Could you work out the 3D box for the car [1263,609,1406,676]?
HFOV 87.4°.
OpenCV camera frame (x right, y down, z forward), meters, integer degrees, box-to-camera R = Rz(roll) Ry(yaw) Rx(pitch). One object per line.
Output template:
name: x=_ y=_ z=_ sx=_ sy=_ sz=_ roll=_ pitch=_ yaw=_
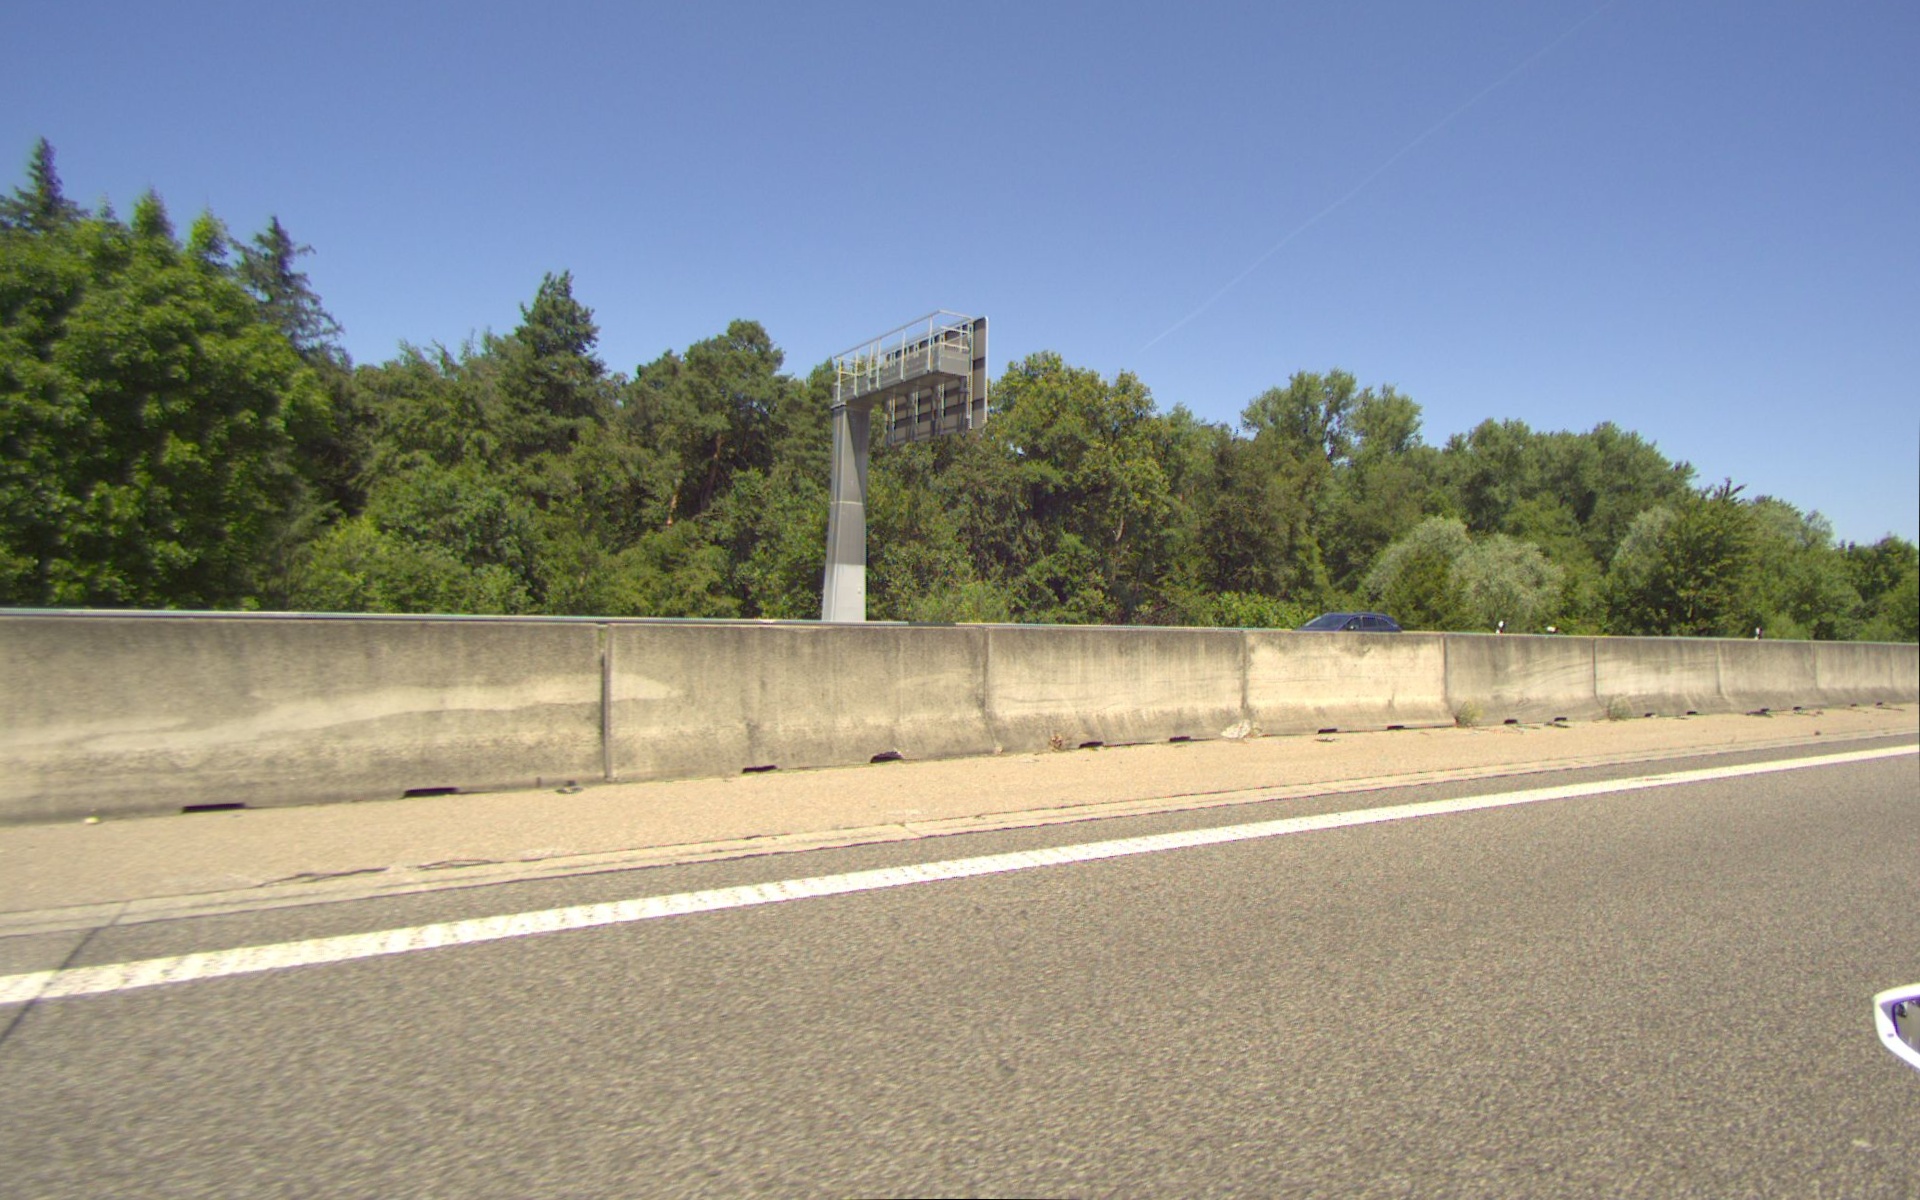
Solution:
car: x=12.314 y=1.369 z=32.995 sx=4.375 sy=2.040 sz=1.985 roll=1 pitch=0 yaw=-29
